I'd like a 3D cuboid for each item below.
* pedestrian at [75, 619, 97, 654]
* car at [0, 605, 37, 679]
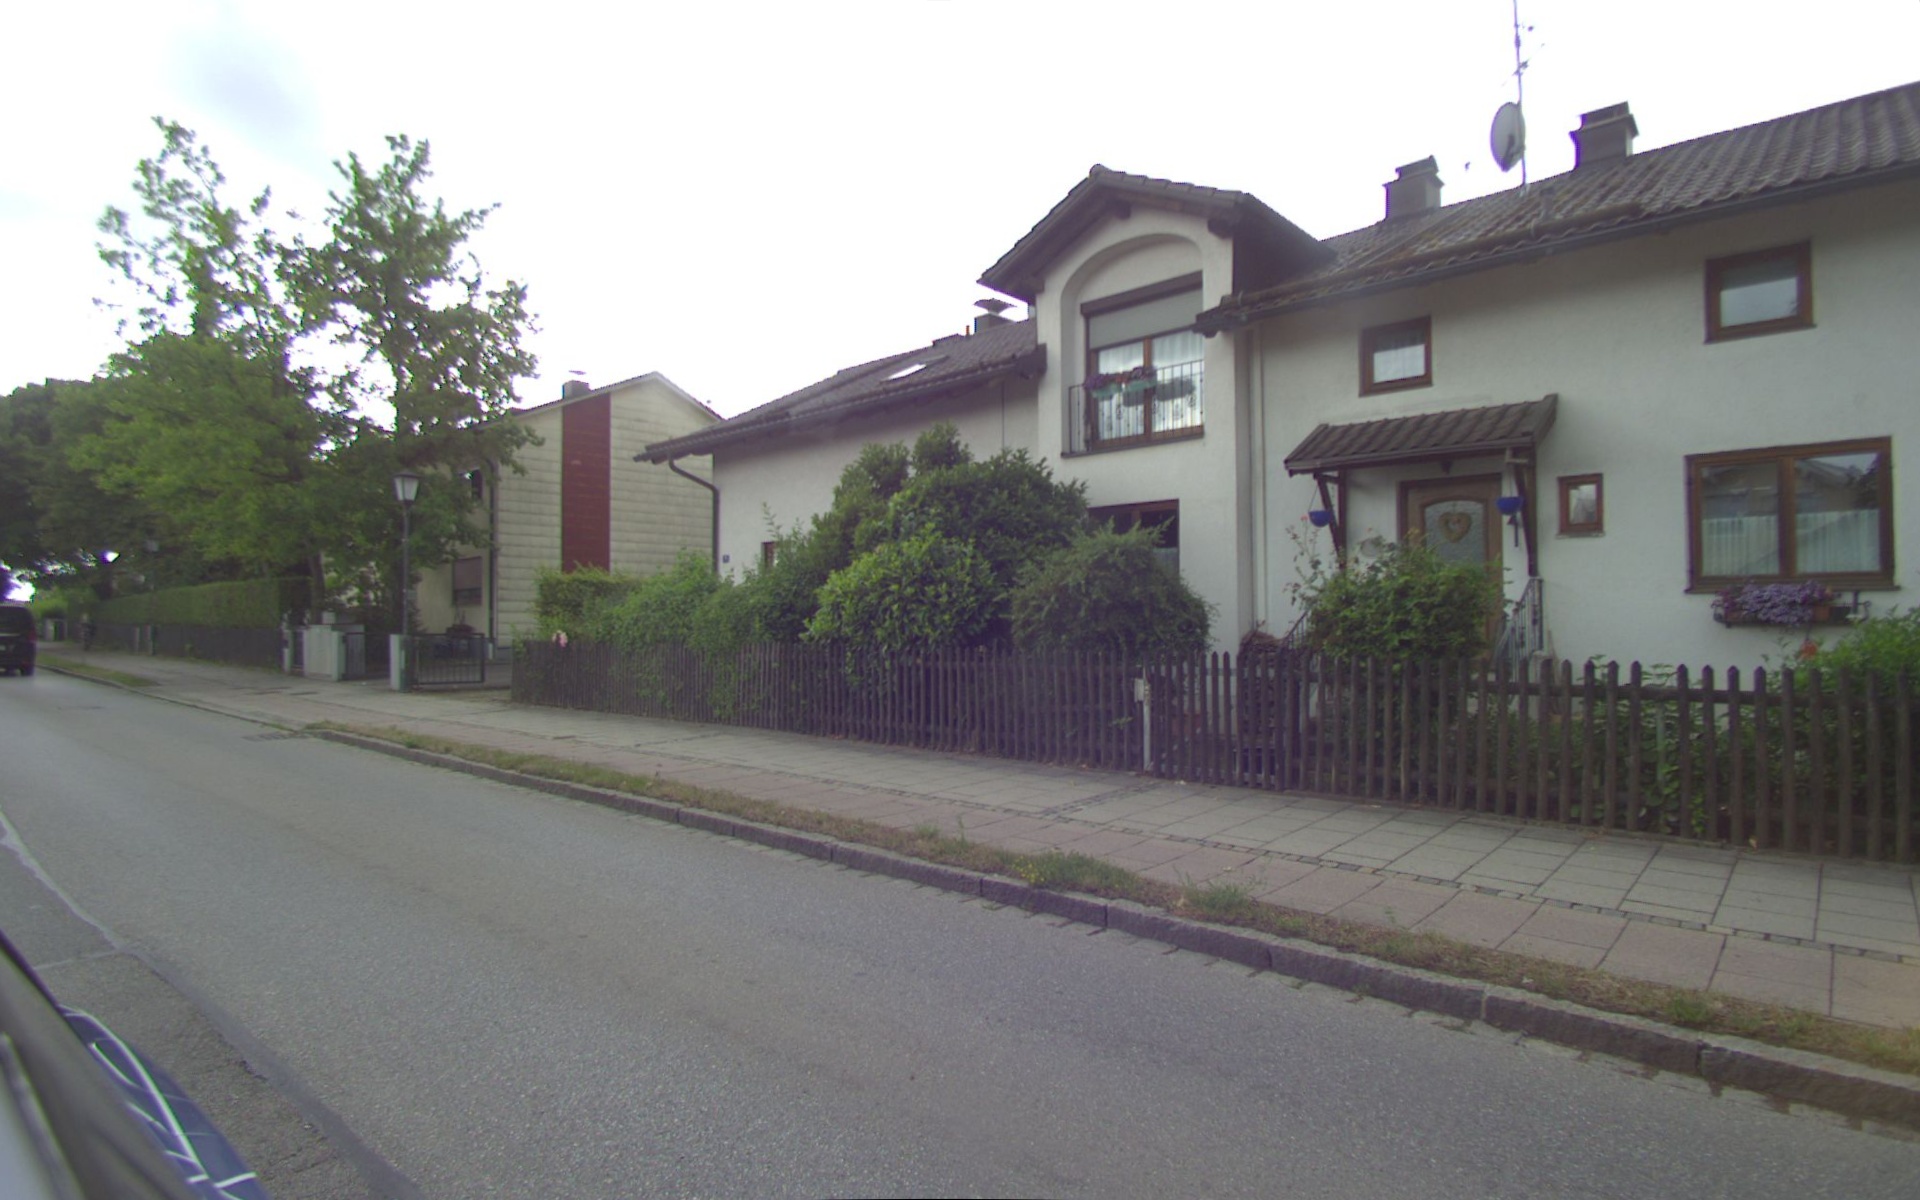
[{"bbox_3d":[-36.646,1.540,42.420,0.563,1.448,0.623,-1,-2,41],"label":"pedestrian"},{"bbox_3d":[-26.503,1.098,27.242,4.946,1.867,1.944,-1,-2,42],"label":"car"}]
